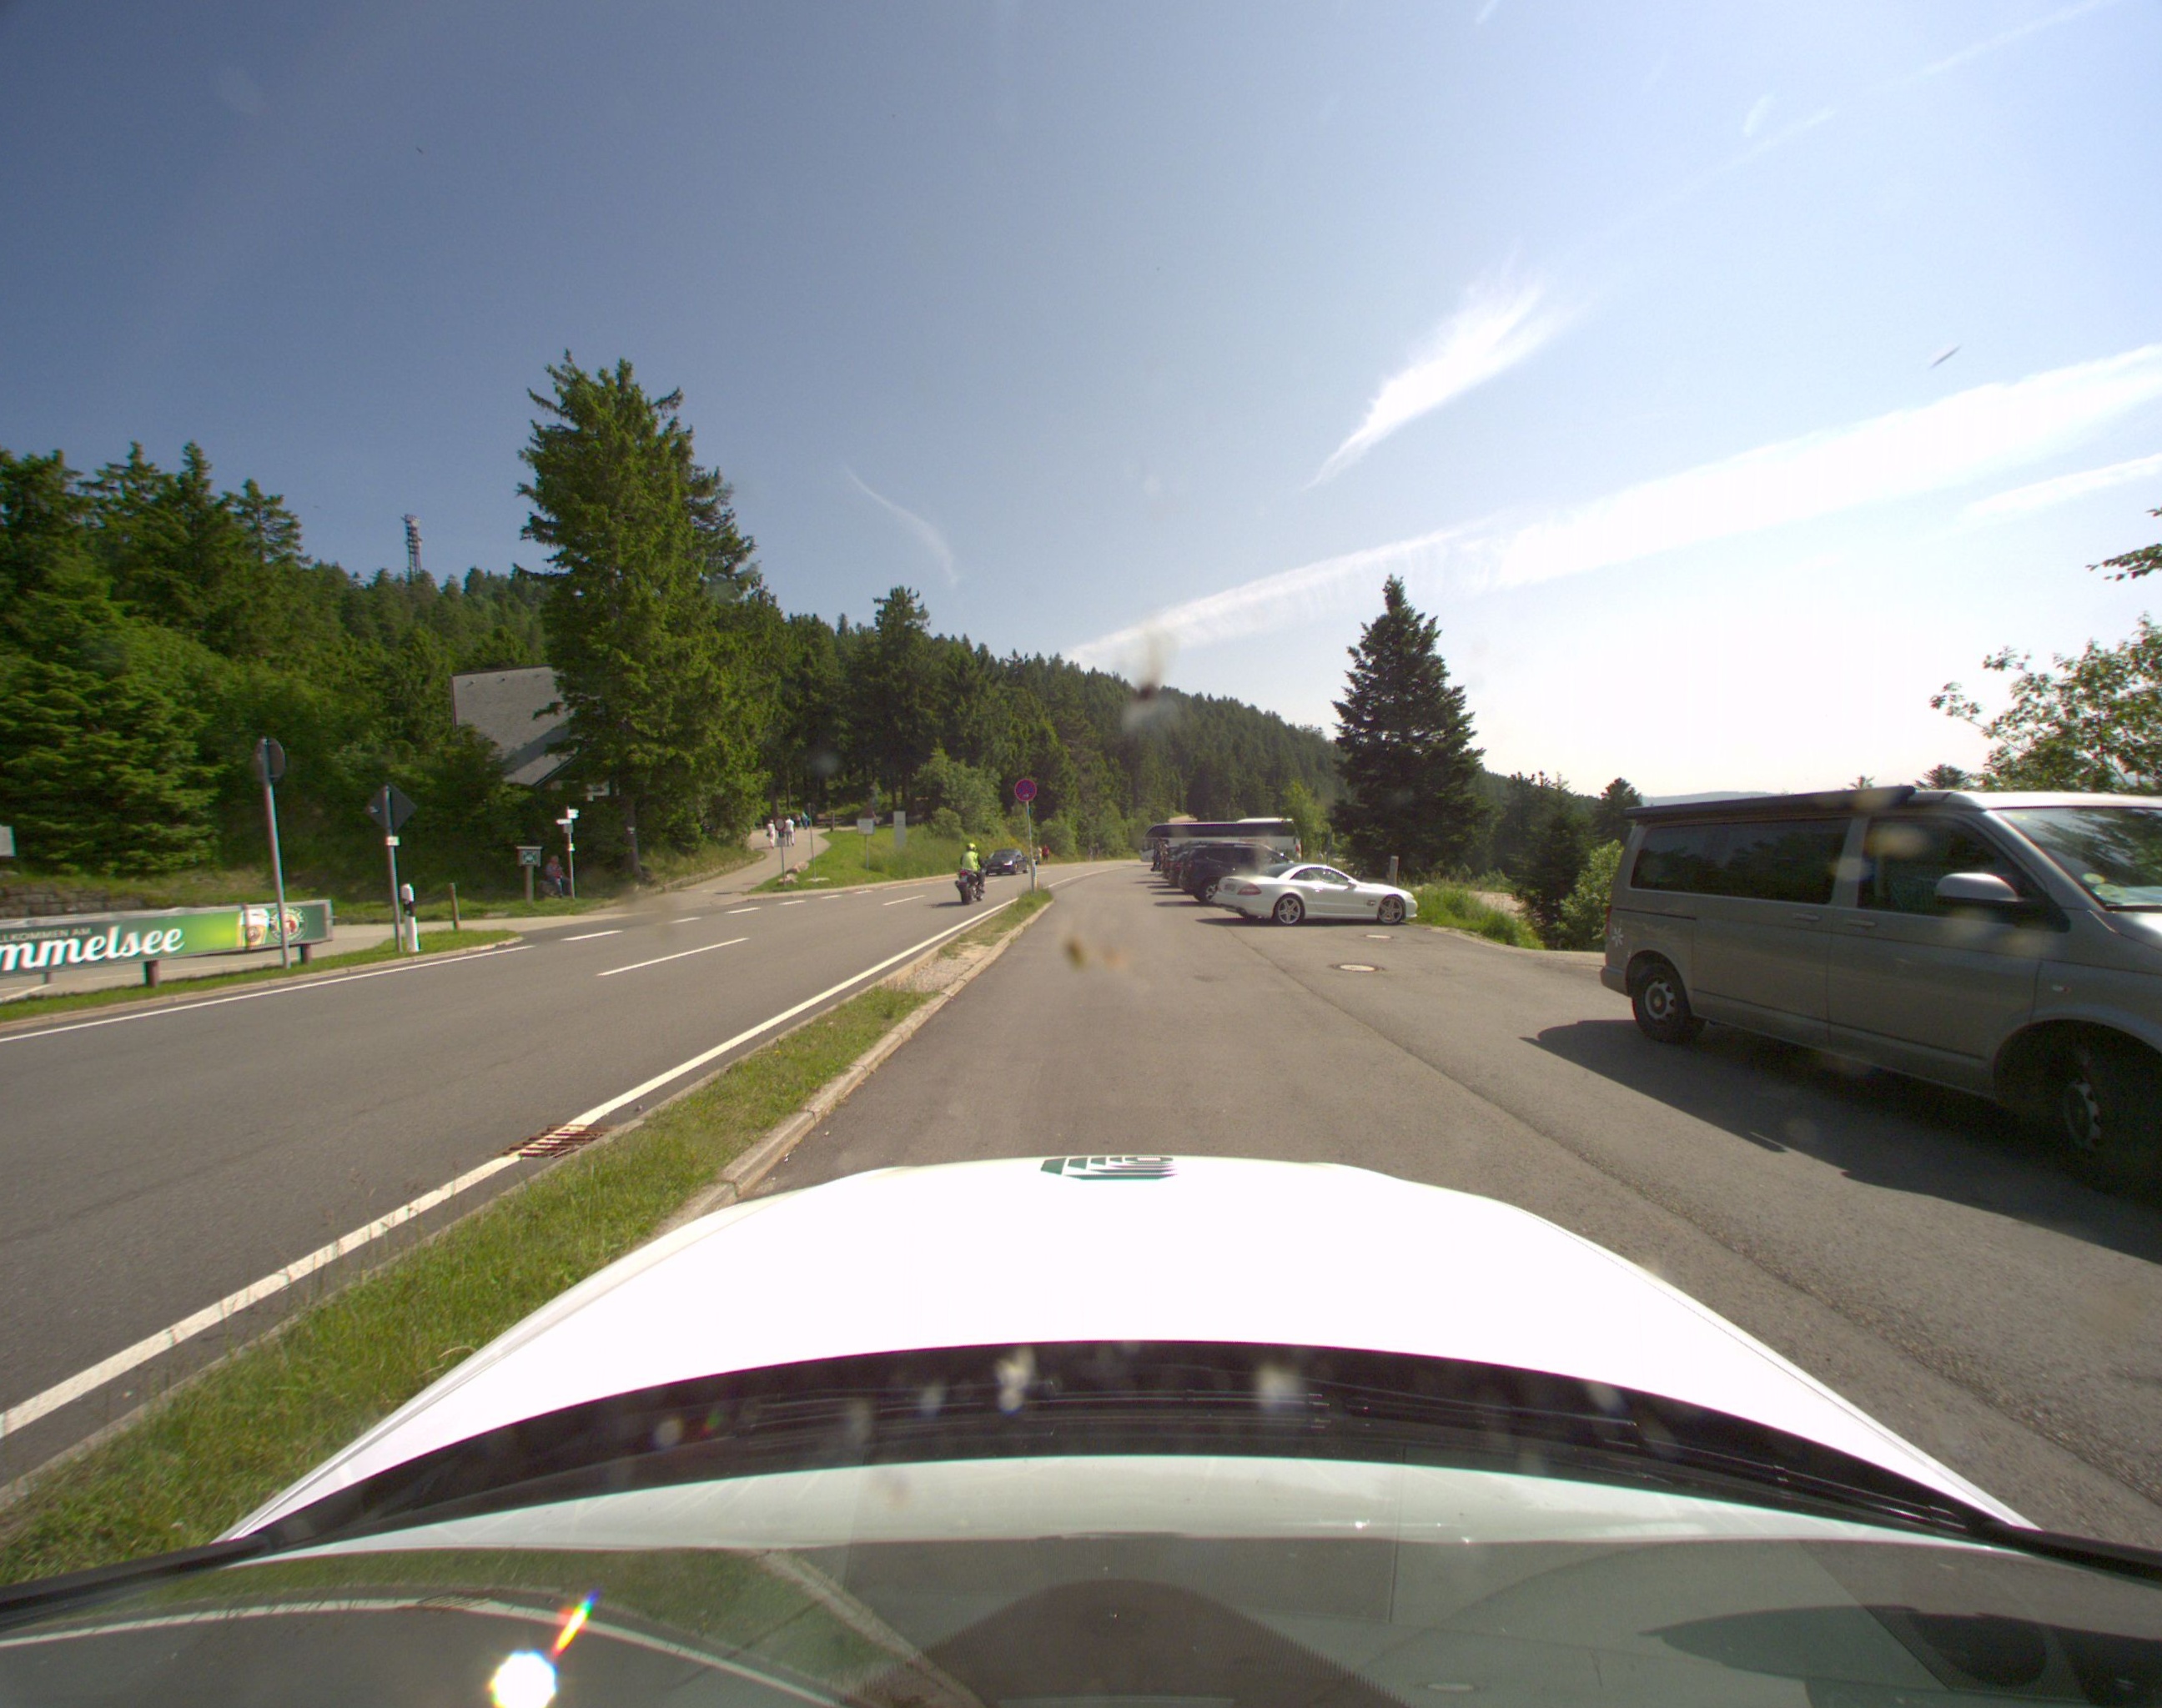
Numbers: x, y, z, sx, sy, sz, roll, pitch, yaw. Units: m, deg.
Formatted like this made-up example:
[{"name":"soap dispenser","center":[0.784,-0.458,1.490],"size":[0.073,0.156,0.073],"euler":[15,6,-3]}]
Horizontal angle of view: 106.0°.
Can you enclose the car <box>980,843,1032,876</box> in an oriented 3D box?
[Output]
[{"name":"car","center":[-4.194,0.294,46.187],"size":[1.983,1.662,4.009],"euler":[-3,1,7]}]

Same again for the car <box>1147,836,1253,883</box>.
[{"name":"car","center":[4.712,0.201,32.678],"size":[3.974,1.719,1.868],"euler":[1,2,0]}]

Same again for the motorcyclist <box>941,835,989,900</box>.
[{"name":"motorcyclist","center":[-3.078,0.342,21.804],"size":[1.022,1.675,1.294],"euler":[-1,0,2]}]

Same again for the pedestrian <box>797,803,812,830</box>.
[{"name":"pedestrian","center":[-21.807,-2.940,64.211],"size":[0.815,2.013,0.851],"euler":[-4,2,-8]}]

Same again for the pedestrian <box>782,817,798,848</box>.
[{"name":"pedestrian","center":[-17.392,-1.263,48.660],"size":[0.652,1.799,0.641],"euler":[-3,-1,-6]}]

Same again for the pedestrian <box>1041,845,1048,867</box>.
[{"name":"pedestrian","center":[-3.063,0.173,68.322],"size":[0.393,1.747,0.406],"euler":[-4,2,0]}]

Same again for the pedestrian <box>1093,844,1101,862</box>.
[{"name":"pedestrian","center":[1.804,-0.114,89.895],"size":[0.730,2.013,0.862],"euler":[-4,-1,0]}]

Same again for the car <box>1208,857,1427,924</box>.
[{"name":"car","center":[5.173,0.796,17.854],"size":[4.463,1.298,1.574],"euler":[2,1,-17]}]

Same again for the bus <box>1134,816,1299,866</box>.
[{"name":"bus","center":[10.966,-1.042,66.011],"size":[12.760,3.577,2.996],"euler":[-2,3,16]}]

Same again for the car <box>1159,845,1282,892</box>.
[{"name":"car","center":[4.866,0.484,28.794],"size":[3.975,1.452,2.000],"euler":[1,2,-1]}]

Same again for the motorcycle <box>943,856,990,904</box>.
[{"name":"motorcycle","center":[-3.046,0.669,21.922],"size":[0.819,1.177,2.287],"euler":[-3,0,2]}]

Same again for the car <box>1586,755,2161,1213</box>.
[{"name":"car","center":[5.687,0.556,5.319],"size":[1.898,1.972,4.822],"euler":[2,1,2]}]

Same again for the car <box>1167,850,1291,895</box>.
[{"name":"car","center":[4.628,0.567,25.801],"size":[3.625,1.303,1.641],"euler":[0,2,-1]}]

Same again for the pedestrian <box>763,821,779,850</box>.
[{"name":"pedestrian","center":[-18.164,-1.086,47.756],"size":[0.652,1.667,0.641],"euler":[-3,-1,-6]}]

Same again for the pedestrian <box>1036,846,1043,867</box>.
[{"name":"pedestrian","center":[-3.514,0.189,68.666],"size":[0.413,1.747,0.457],"euler":[-4,2,0]}]

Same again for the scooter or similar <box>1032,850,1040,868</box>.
[{"name":"scooter or similar","center":[-3.750,0.417,68.024],"size":[0.481,1.379,0.817],"euler":[-4,2,0]}]

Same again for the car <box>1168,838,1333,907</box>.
[{"name":"car","center":[4.572,0.477,22.374],"size":[3.984,1.699,1.995],"euler":[1,2,-8]}]

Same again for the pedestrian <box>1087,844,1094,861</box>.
[{"name":"pedestrian","center":[1.098,-0.146,90.978],"size":[0.620,1.900,0.655],"euler":[-4,-1,0]}]

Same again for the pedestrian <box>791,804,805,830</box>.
[{"name":"pedestrian","center":[-22.847,-3.010,65.779],"size":[0.797,2.013,0.937],"euler":[-4,2,-8]}]

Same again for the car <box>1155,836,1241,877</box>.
[{"name":"car","center":[5.634,0.103,39.662],"size":[3.971,1.814,1.941],"euler":[1,3,2]}]

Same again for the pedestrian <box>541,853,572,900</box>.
[{"name":"pedestrian","center":[-17.963,0.756,27.907],"size":[0.575,1.532,0.553],"euler":[-4,2,0]}]
